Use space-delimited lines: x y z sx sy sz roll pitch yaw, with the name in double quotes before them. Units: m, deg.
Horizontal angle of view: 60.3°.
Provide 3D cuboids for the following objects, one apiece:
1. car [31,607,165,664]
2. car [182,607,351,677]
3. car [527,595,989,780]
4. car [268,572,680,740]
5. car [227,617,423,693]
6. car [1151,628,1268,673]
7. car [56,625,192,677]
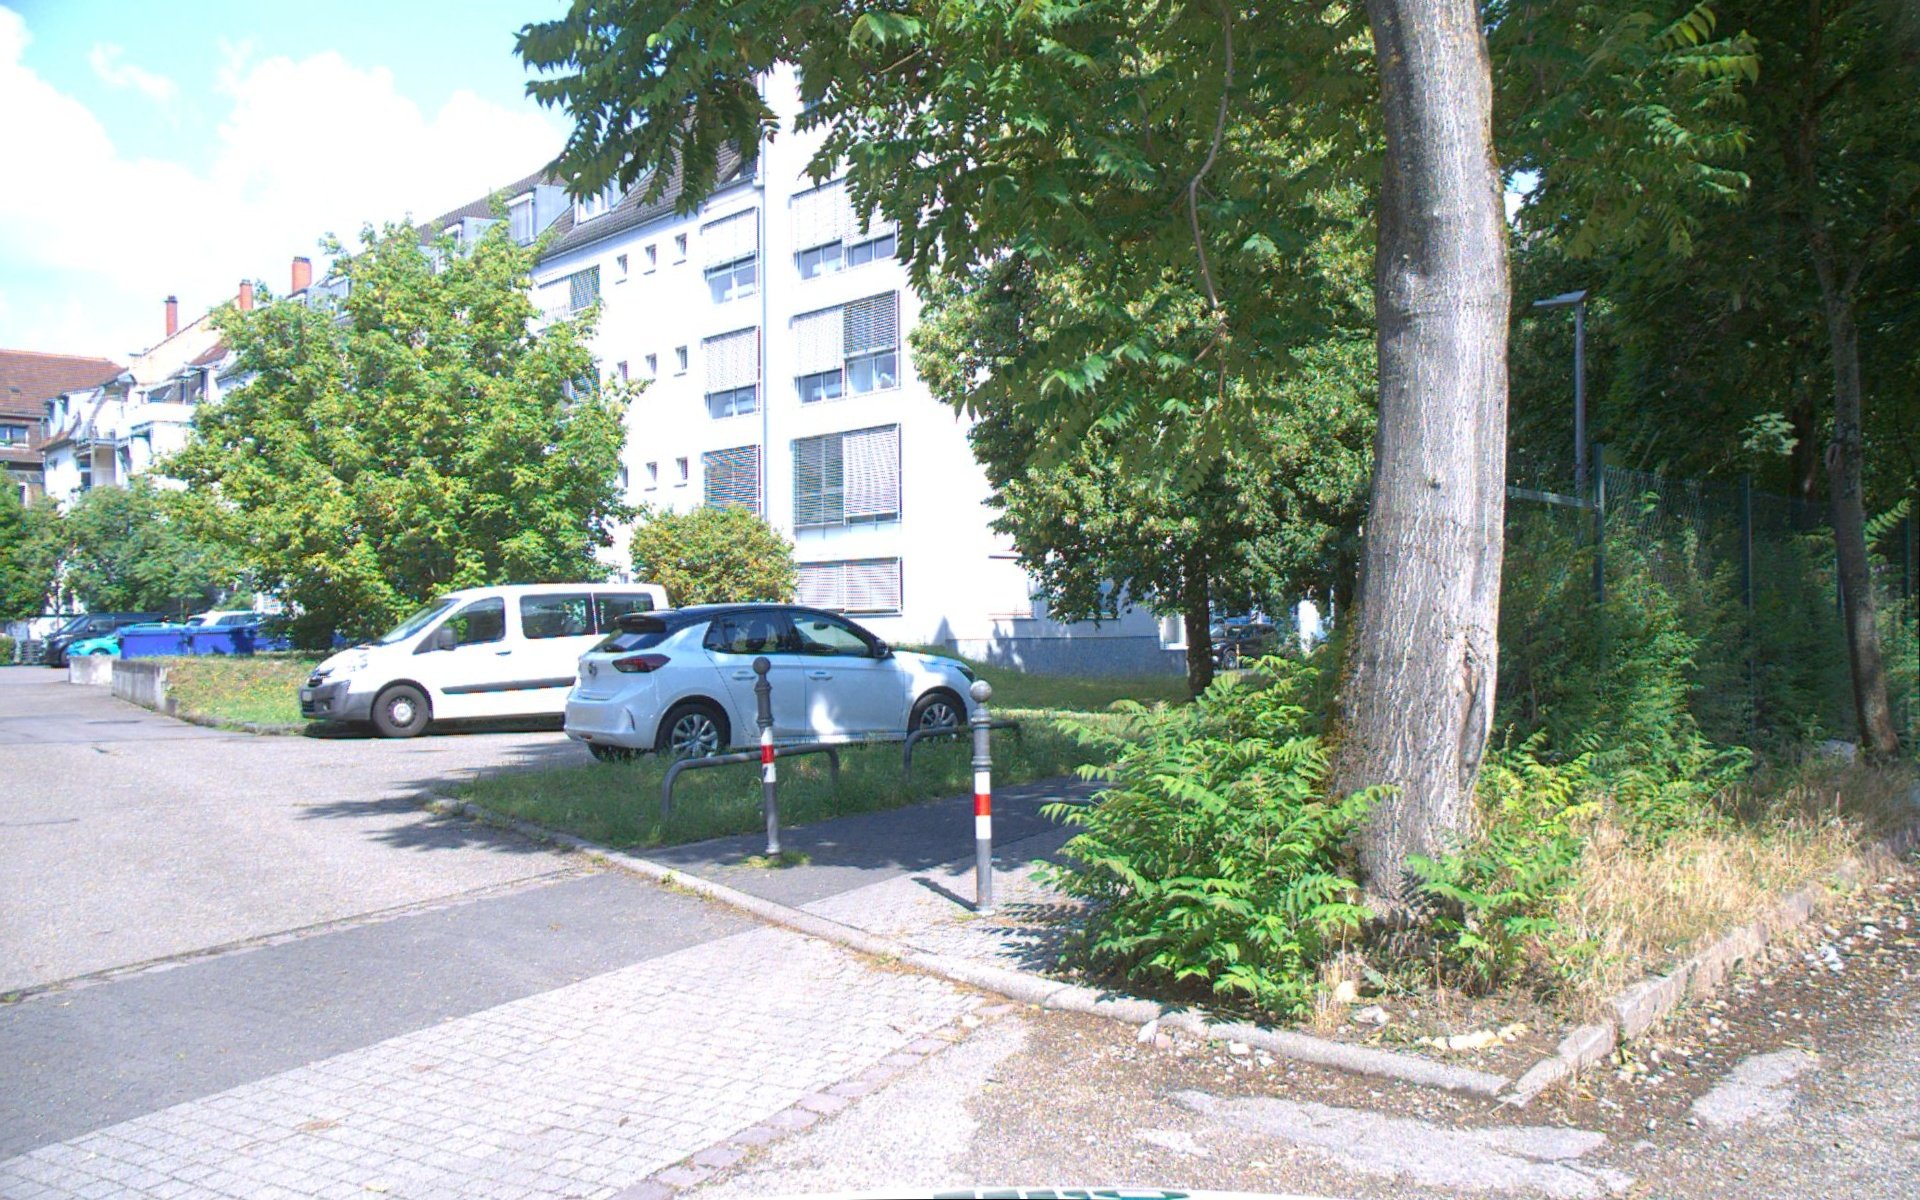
"car" -31.142 1.297 59.817 3.963 1.848 1.640 4 0 -41
"car" -19.420 1.157 46.353 3.963 1.776 1.921 1 2 -41
"car" -1.794 0.715 15.183 3.873 1.445 1.737 1 1 -36
"car" -6.379 0.718 21.944 4.895 1.999 1.976 1 -1 -34
"car" -15.501 1.367 40.504 4.088 1.634 1.730 4 0 -41
"car" 8.633 1.722 57.128 3.870 1.445 1.738 1 1 -35
"car" -29.131 1.754 57.661 3.963 1.601 1.606 0 4 -41
